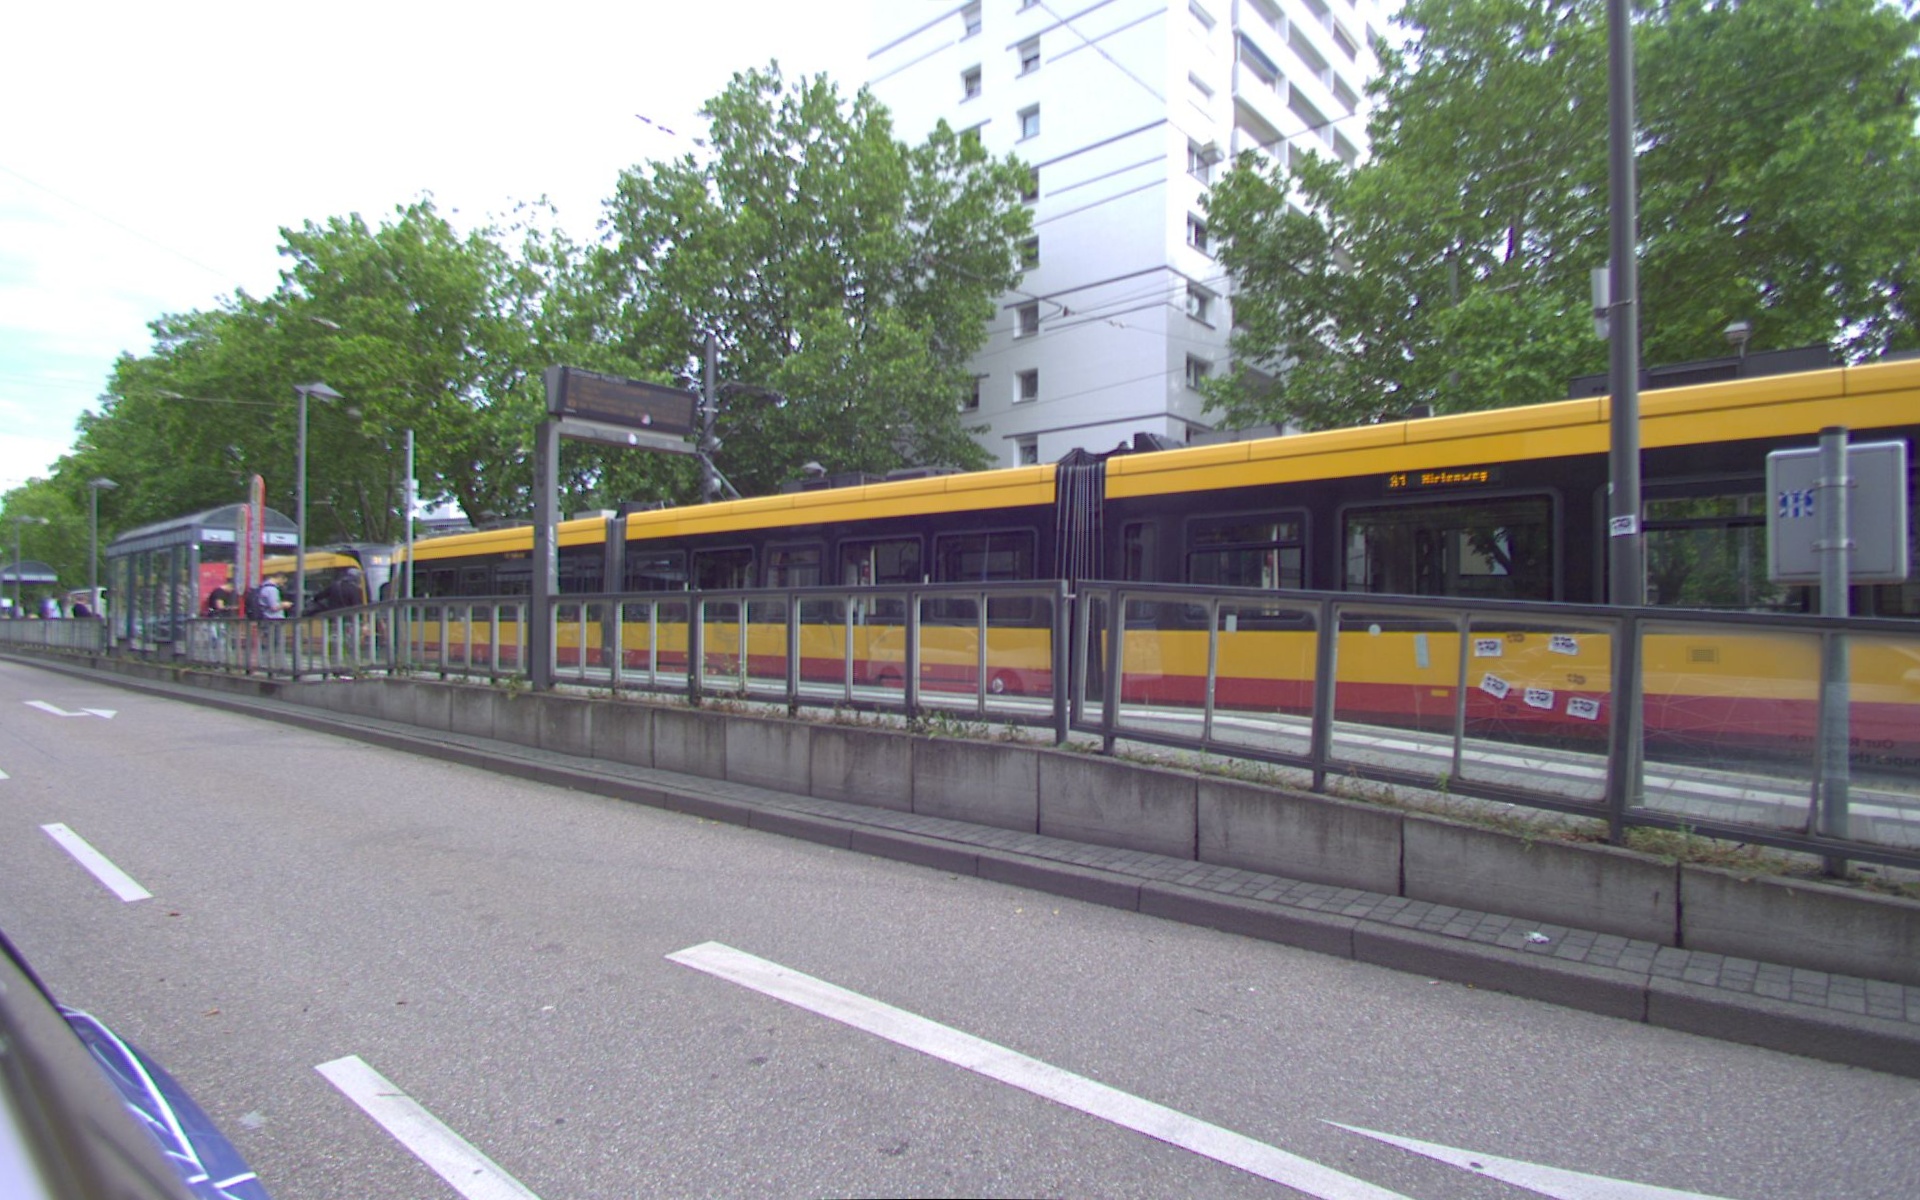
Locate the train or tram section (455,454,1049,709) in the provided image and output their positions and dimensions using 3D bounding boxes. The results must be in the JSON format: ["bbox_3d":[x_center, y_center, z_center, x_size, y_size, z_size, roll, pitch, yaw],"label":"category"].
[{"bbox_3d":[-5.314,-0.194,20.287,15.287,3.558,3.028,-1,0,41],"label":"train or tram section"}]

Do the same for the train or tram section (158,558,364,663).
[{"bbox_3d":[-28.471,0.420,40.623,15.764,3.558,3.028,-1,0,41],"label":"train or tram section"}]

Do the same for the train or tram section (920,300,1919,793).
[{"bbox_3d":[6.407,-0.384,9.999,15.841,3.615,3.028,-1,0,41],"label":"train or tram section"}]

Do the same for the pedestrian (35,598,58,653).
[{"bbox_3d":[-27.444,0.760,30.395,0.392,1.645,0.474,-1,0,42],"label":"pedestrian"}]

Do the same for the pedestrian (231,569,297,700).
[{"bbox_3d":[-11.179,0.531,16.272,0.742,2.029,0.821,-1,0,-26],"label":"pedestrian"}]

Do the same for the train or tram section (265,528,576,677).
[{"bbox_3d":[-16.806,0.127,30.392,15.287,3.558,3.028,-1,0,41],"label":"train or tram section"}]

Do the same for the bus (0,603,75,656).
[{"bbox_3d":[-37.393,1.155,40.875,3.998,2.029,1.973,-1,0,41],"label":"bus"}]

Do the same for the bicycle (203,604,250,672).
[{"bbox_3d":[-13.610,0.690,18.769,1.289,1.231,0.414,-1,0,41],"label":"bicycle"}]

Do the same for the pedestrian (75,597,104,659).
[{"bbox_3d":[-23.747,0.751,27.614,0.730,1.645,0.506,-1,0,42],"label":"pedestrian"}]

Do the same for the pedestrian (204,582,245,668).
[{"bbox_3d":[-14.237,0.471,19.584,0.471,1.645,0.526,-1,0,39],"label":"pedestrian"}]

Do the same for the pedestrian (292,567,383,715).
[{"bbox_3d":[-8.834,0.570,14.387,0.808,2.029,0.754,-1,0,4],"label":"pedestrian"}]

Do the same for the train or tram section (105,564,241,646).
[{"bbox_3d":[-39.083,0.271,49.994,12.533,3.588,3.060,-1,0,41],"label":"train or tram section"}]
